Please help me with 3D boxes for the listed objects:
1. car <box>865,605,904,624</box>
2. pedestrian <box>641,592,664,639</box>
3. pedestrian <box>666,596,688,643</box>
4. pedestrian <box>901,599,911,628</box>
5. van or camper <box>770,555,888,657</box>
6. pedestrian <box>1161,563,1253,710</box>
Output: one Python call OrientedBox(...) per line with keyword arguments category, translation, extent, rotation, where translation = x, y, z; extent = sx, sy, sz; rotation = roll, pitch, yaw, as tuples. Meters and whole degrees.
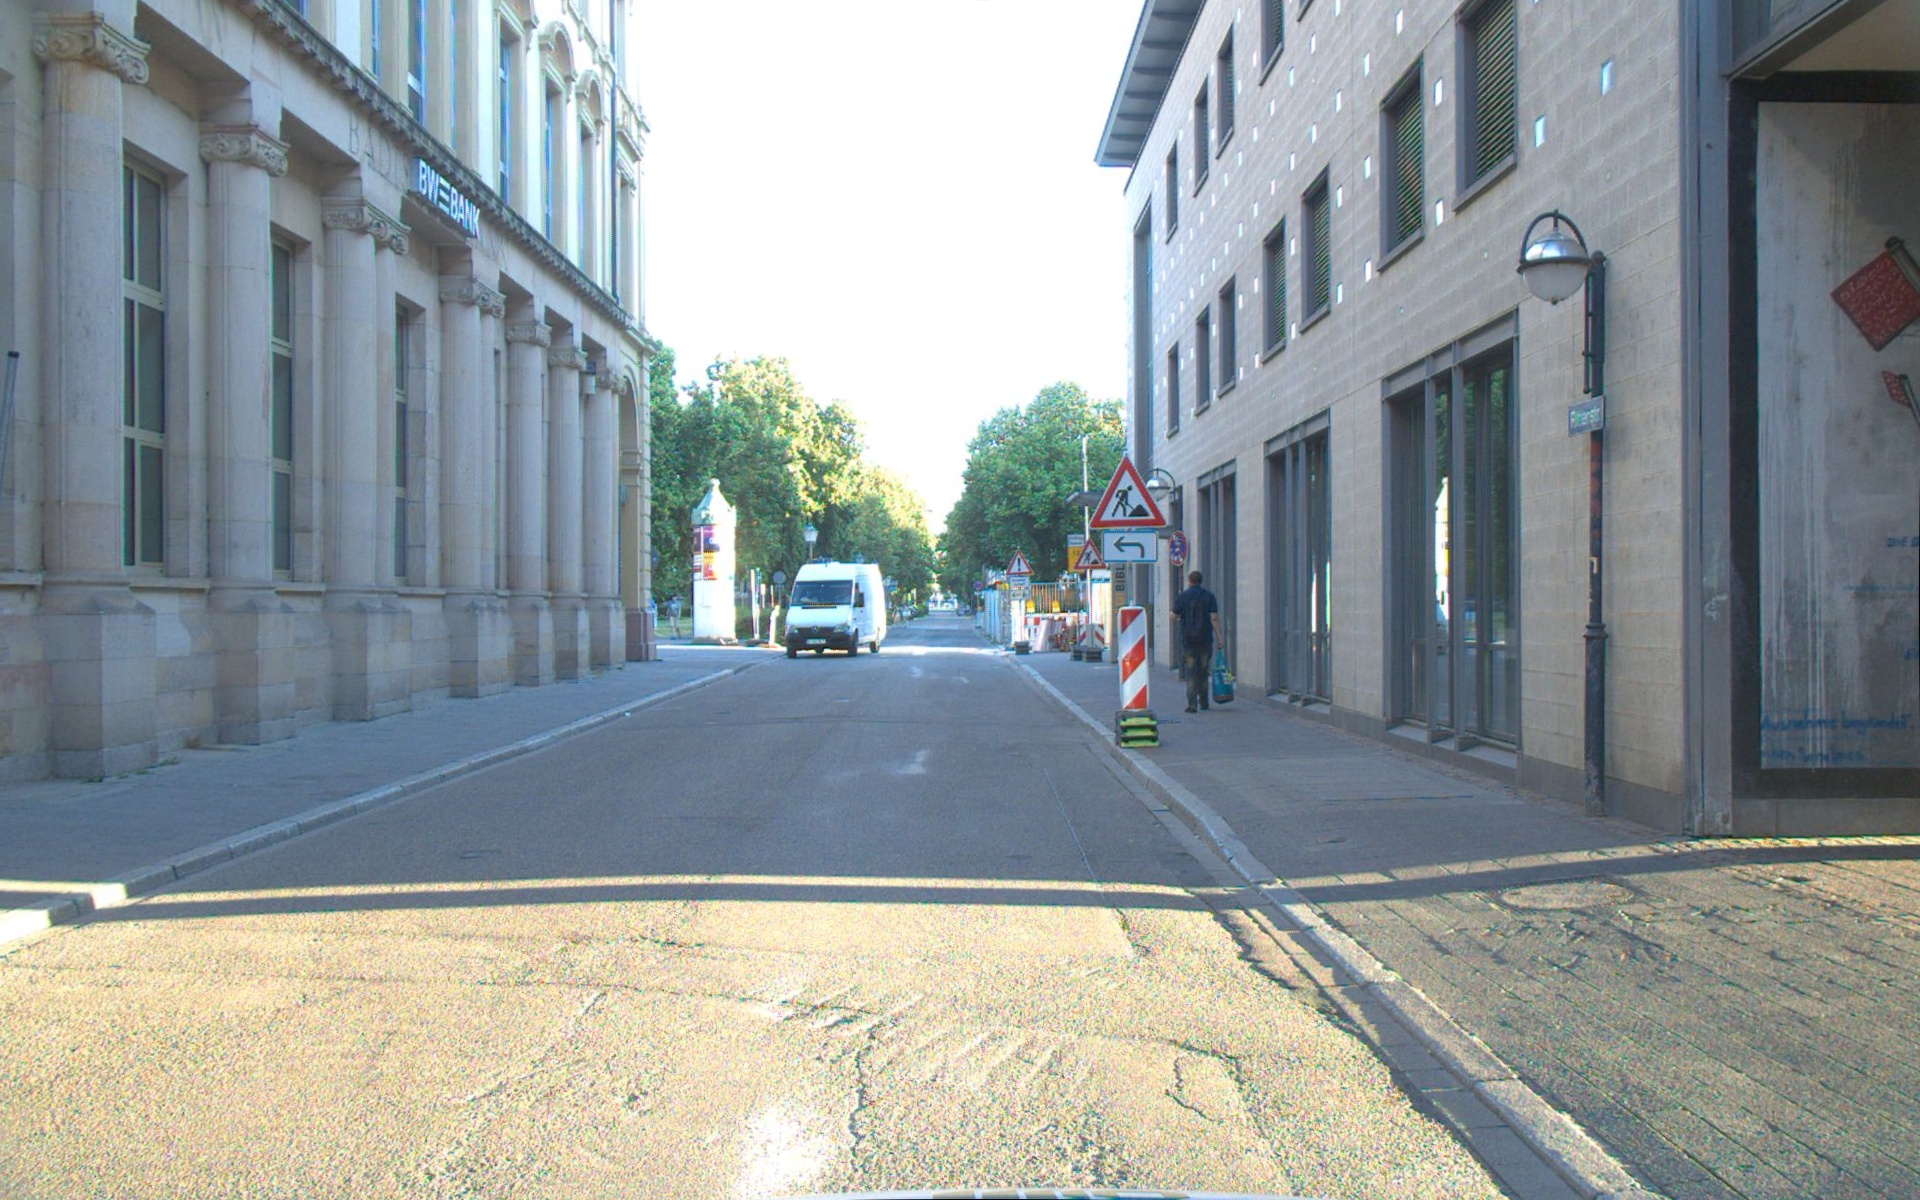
OrientedBox(category="car", translation=(-7.352, 1.400, 160.843), extent=(3.486, 1.814, 1.791), rotation=(-1, -1, 9))
OrientedBox(category="pedestrian", translation=(-12.075, 0.621, 64.910), extent=(0.835, 1.839, 0.661), rotation=(0, 0, -14))
OrientedBox(category="pedestrian", translation=(-11.151, 0.754, 65.135), extent=(0.835, 1.839, 0.661), rotation=(0, 0, -14))
OrientedBox(category="pedestrian", translation=(-3.771, 0.926, 114.854), extent=(0.598, 2.049, 0.903), rotation=(0, 0, -9))
OrientedBox(category="van or camper", translation=(-3.529, 0.145, 46.039), extent=(2.172, 2.630, 6.376), rotation=(0, 0, 6))
OrientedBox(category="pedestrian", translation=(3.179, 0.466, 21.379), extent=(0.980, 1.835, 0.881), rotation=(-2, -1, -1))
